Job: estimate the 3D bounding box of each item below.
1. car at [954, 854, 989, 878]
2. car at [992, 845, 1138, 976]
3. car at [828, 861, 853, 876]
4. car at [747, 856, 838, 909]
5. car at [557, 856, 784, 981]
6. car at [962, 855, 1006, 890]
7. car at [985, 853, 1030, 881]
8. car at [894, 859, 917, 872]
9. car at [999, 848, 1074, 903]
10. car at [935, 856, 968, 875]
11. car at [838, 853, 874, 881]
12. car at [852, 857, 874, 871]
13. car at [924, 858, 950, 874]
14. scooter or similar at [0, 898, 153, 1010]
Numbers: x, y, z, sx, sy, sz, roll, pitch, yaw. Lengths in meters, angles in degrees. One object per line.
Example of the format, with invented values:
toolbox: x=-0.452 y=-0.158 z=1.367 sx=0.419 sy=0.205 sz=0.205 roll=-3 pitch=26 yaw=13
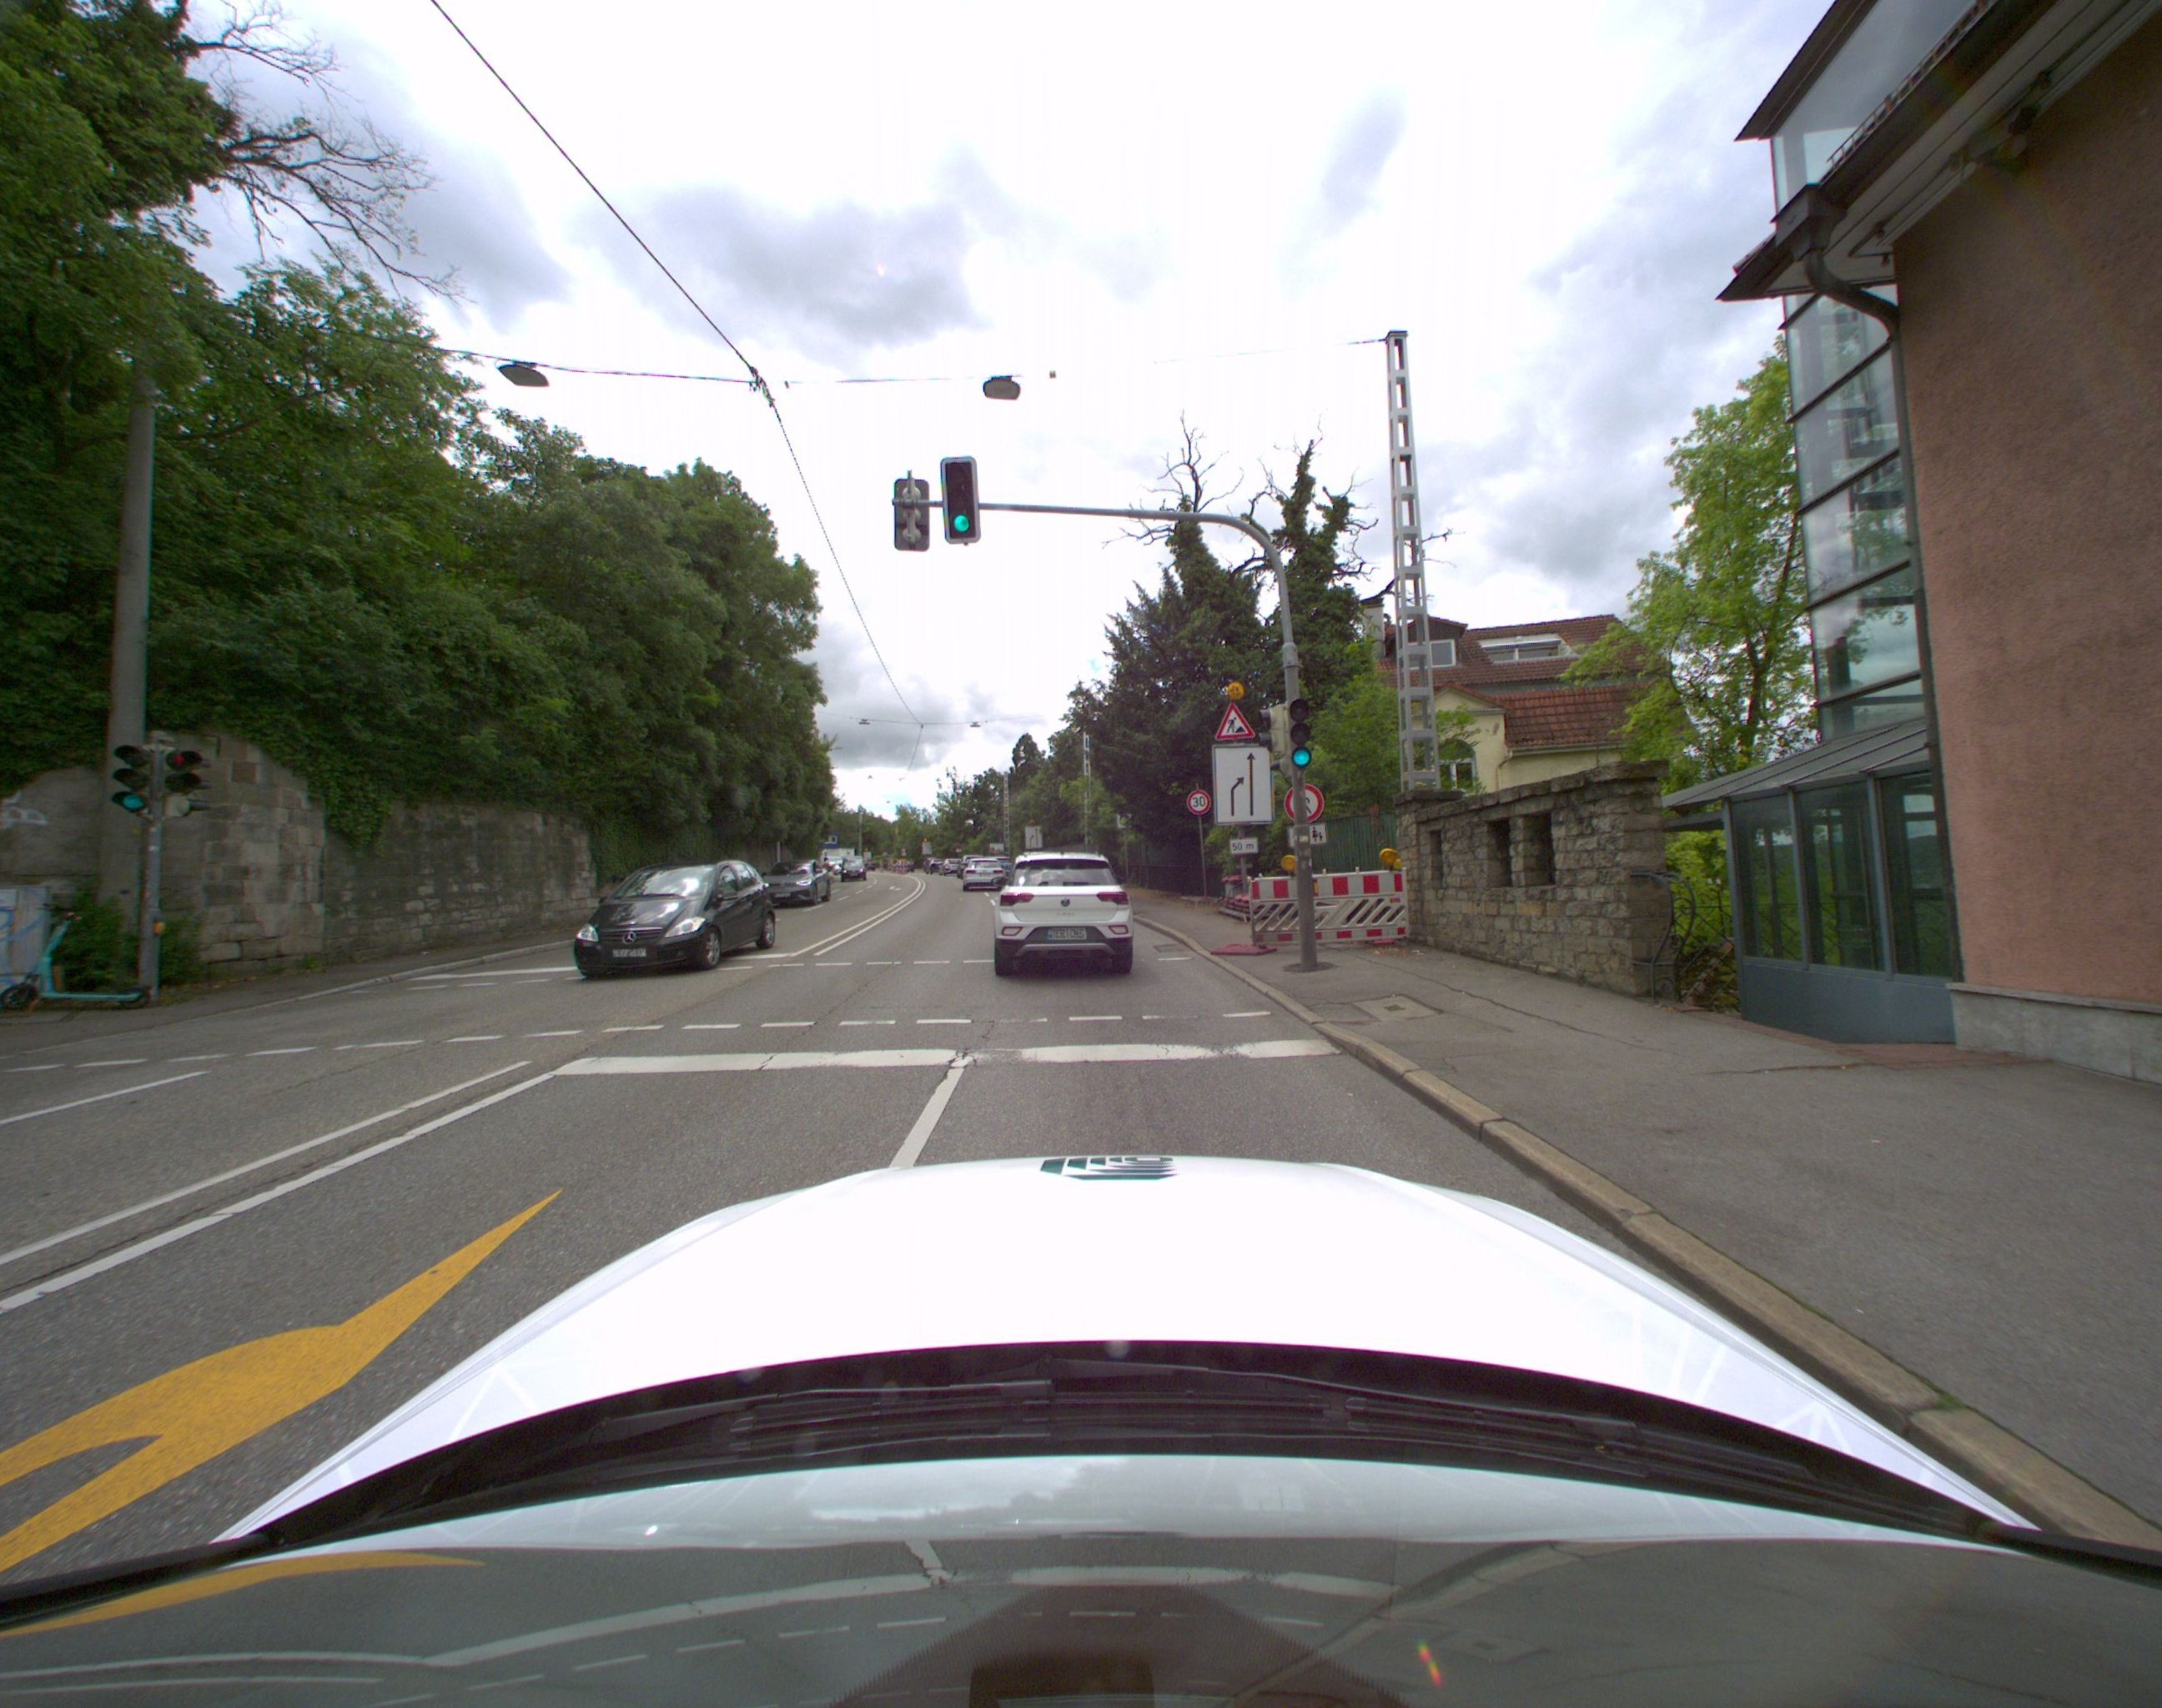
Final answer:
car: x=-7.695 y=0.827 z=56.804 sx=1.996 sy=1.556 sz=4.131 roll=-1 pitch=0 yaw=-14
car: x=-0.220 y=0.702 z=11.658 sx=1.753 sy=1.556 sz=3.793 roll=0 pitch=-1 yaw=-1
car: x=-25.795 y=1.578 z=87.264 sx=1.792 sy=1.466 sz=4.064 roll=-3 pitch=0 yaw=-27
car: x=-10.142 y=0.943 z=29.013 sx=1.991 sy=1.607 sz=4.466 roll=-4 pitch=0 yaw=-6
car: x=-6.154 y=0.861 z=12.729 sx=1.751 sy=1.566 sz=3.675 roll=-3 pitch=0 yaw=-3
car: x=-4.391 y=0.810 z=36.609 sx=1.758 sy=1.471 sz=3.782 roll=0 pitch=-1 yaw=-10
car: x=-4.159 y=0.769 z=45.700 sx=1.995 sy=1.414 sz=4.132 roll=-2 pitch=-1 yaw=-12
car: x=-20.493 y=1.345 z=95.061 sx=1.790 sy=1.454 sz=3.966 roll=-1 pitch=-1 yaw=-26
car: x=-1.484 y=0.653 z=25.705 sx=1.759 sy=1.609 sz=3.778 roll=0 pitch=-1 yaw=-13
car: x=-10.936 y=0.967 z=68.615 sx=2.000 sy=1.450 sz=4.123 roll=-1 pitch=-1 yaw=-19
car: x=-16.361 y=0.895 z=59.343 sx=1.741 sy=1.845 sz=4.240 roll=-4 pitch=0 yaw=-6
car: x=-29.337 y=1.349 z=109.727 sx=1.853 sy=1.699 sz=3.961 roll=-2 pitch=0 yaw=-31
car: x=-13.825 y=1.202 z=78.153 sx=1.998 sy=1.450 sz=4.127 roll=-1 pitch=-1 yaw=-16
scooter or similar: x=-11.975 y=1.162 z=9.715 sx=0.429 sy=1.237 sz=1.104 roll=1 pitch=-2 yaw=45
